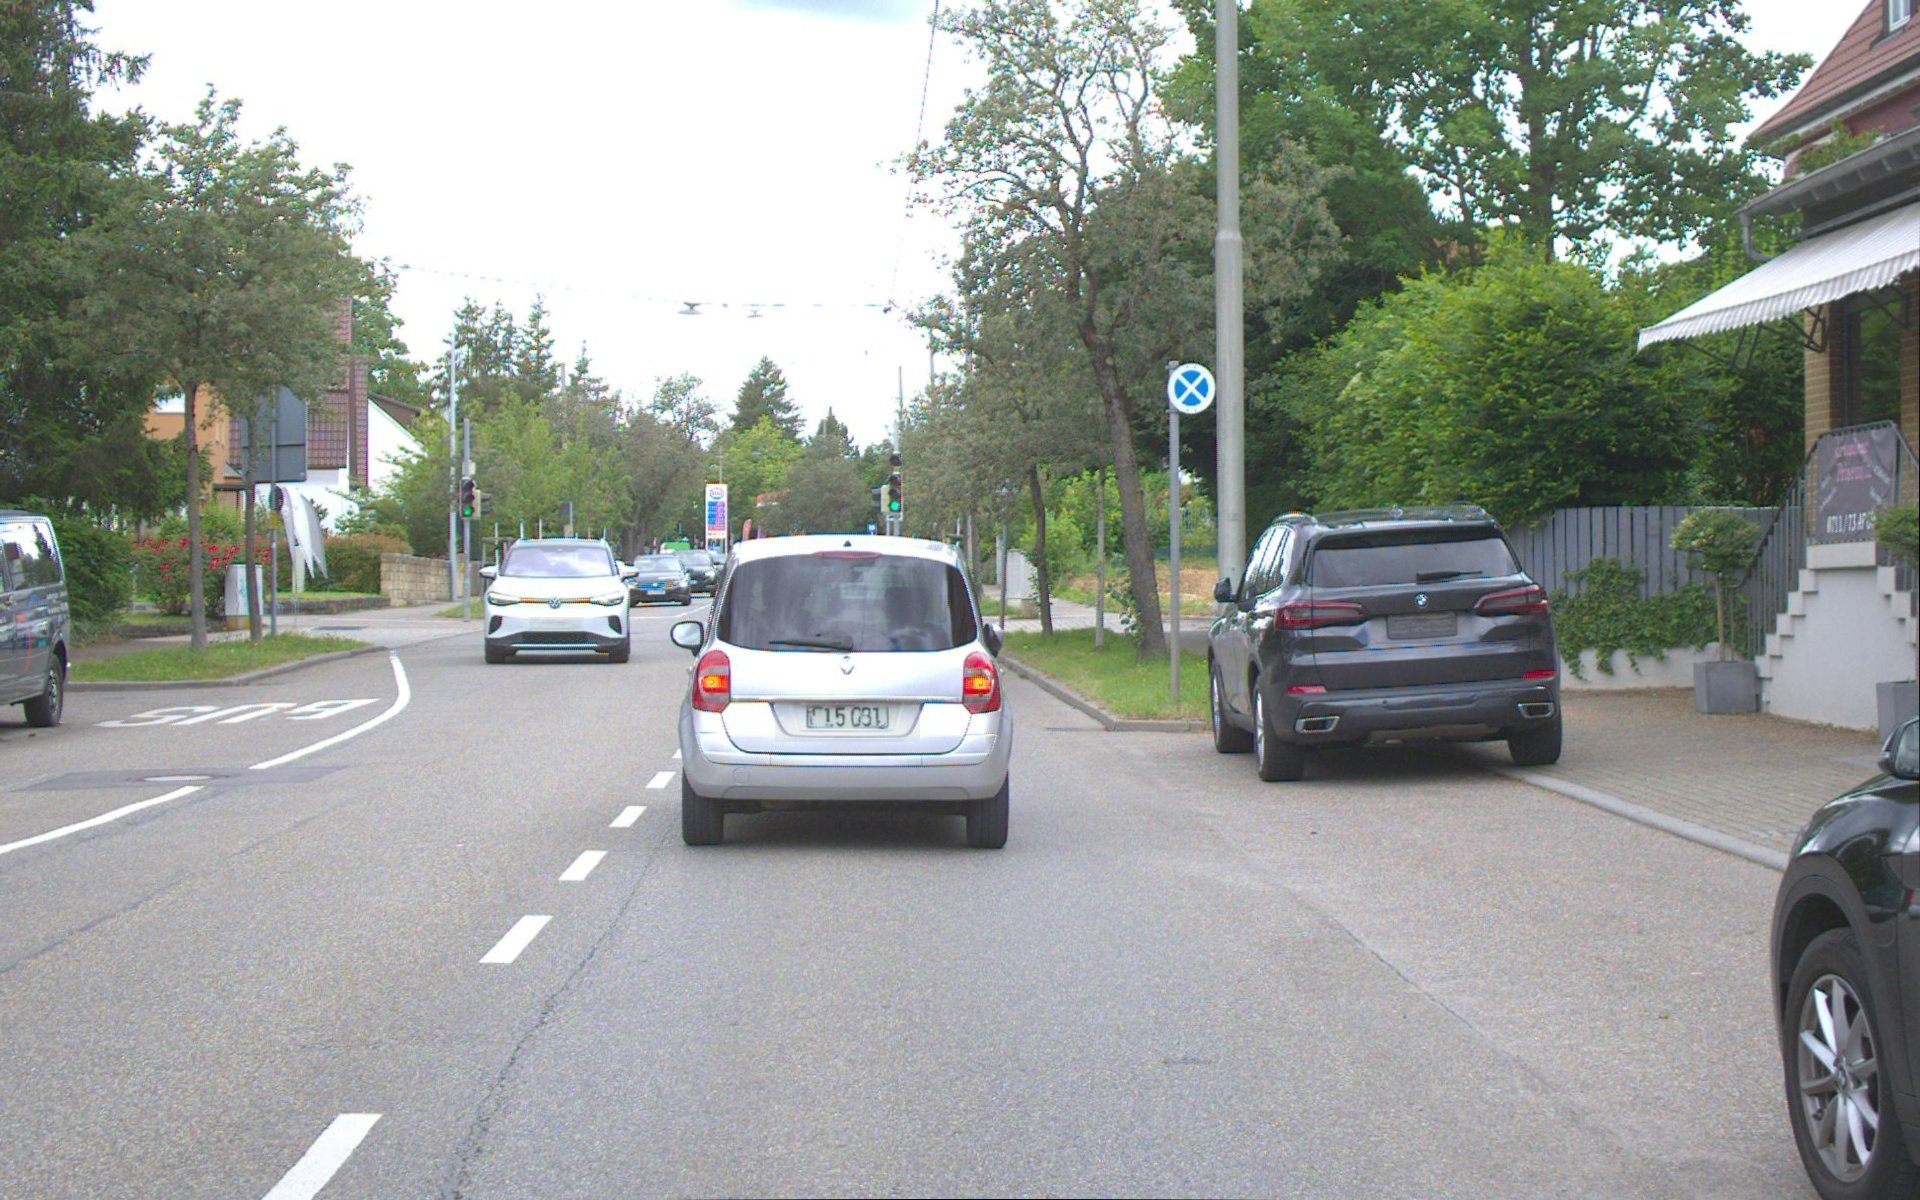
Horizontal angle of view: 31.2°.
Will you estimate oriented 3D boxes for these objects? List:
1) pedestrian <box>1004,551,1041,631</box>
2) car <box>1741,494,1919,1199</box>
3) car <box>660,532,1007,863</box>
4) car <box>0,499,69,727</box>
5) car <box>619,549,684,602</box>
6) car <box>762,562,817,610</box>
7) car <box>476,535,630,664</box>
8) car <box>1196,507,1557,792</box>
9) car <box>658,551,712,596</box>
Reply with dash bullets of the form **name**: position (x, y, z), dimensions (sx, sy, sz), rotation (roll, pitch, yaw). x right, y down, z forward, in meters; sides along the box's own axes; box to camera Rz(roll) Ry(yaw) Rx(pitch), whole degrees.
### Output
- **pedestrian**: position (1.289, -0.183, 71.063), dimensions (0.705, 1.641, 0.773), rotation (-1, 1, -2)
- **car**: position (2.853, 0.573, 6.330), dimensions (1.662, 1.559, 4.099), rotation (0, 1, -4)
- **car**: position (-0.628, 0.477, 18.504), dimensions (1.630, 1.551, 4.000), rotation (1, 0, -1)
- **car**: position (-9.040, 0.094, 29.262), dimensions (1.887, 1.915, 4.562), rotation (1, 0, -3)
- **car**: position (-8.690, -0.677, 97.046), dimensions (1.721, 1.406, 4.000), rotation (1, 0, -4)
- **car**: position (-6.030, -0.500, 122.037), dimensions (1.829, 1.670, 3.574), rotation (0, 0, -1)
- **car**: position (-5.368, 0.004, 45.763), dimensions (1.905, 1.612, 4.001), rotation (1, 0, -5)
- **car**: position (2.726, 0.316, 23.359), dimensions (1.812, 1.737, 4.000), rotation (-1, 0, -2)
- **car**: position (-9.184, -0.877, 114.948), dimensions (1.721, 1.406, 4.000), rotation (1, 0, -4)
